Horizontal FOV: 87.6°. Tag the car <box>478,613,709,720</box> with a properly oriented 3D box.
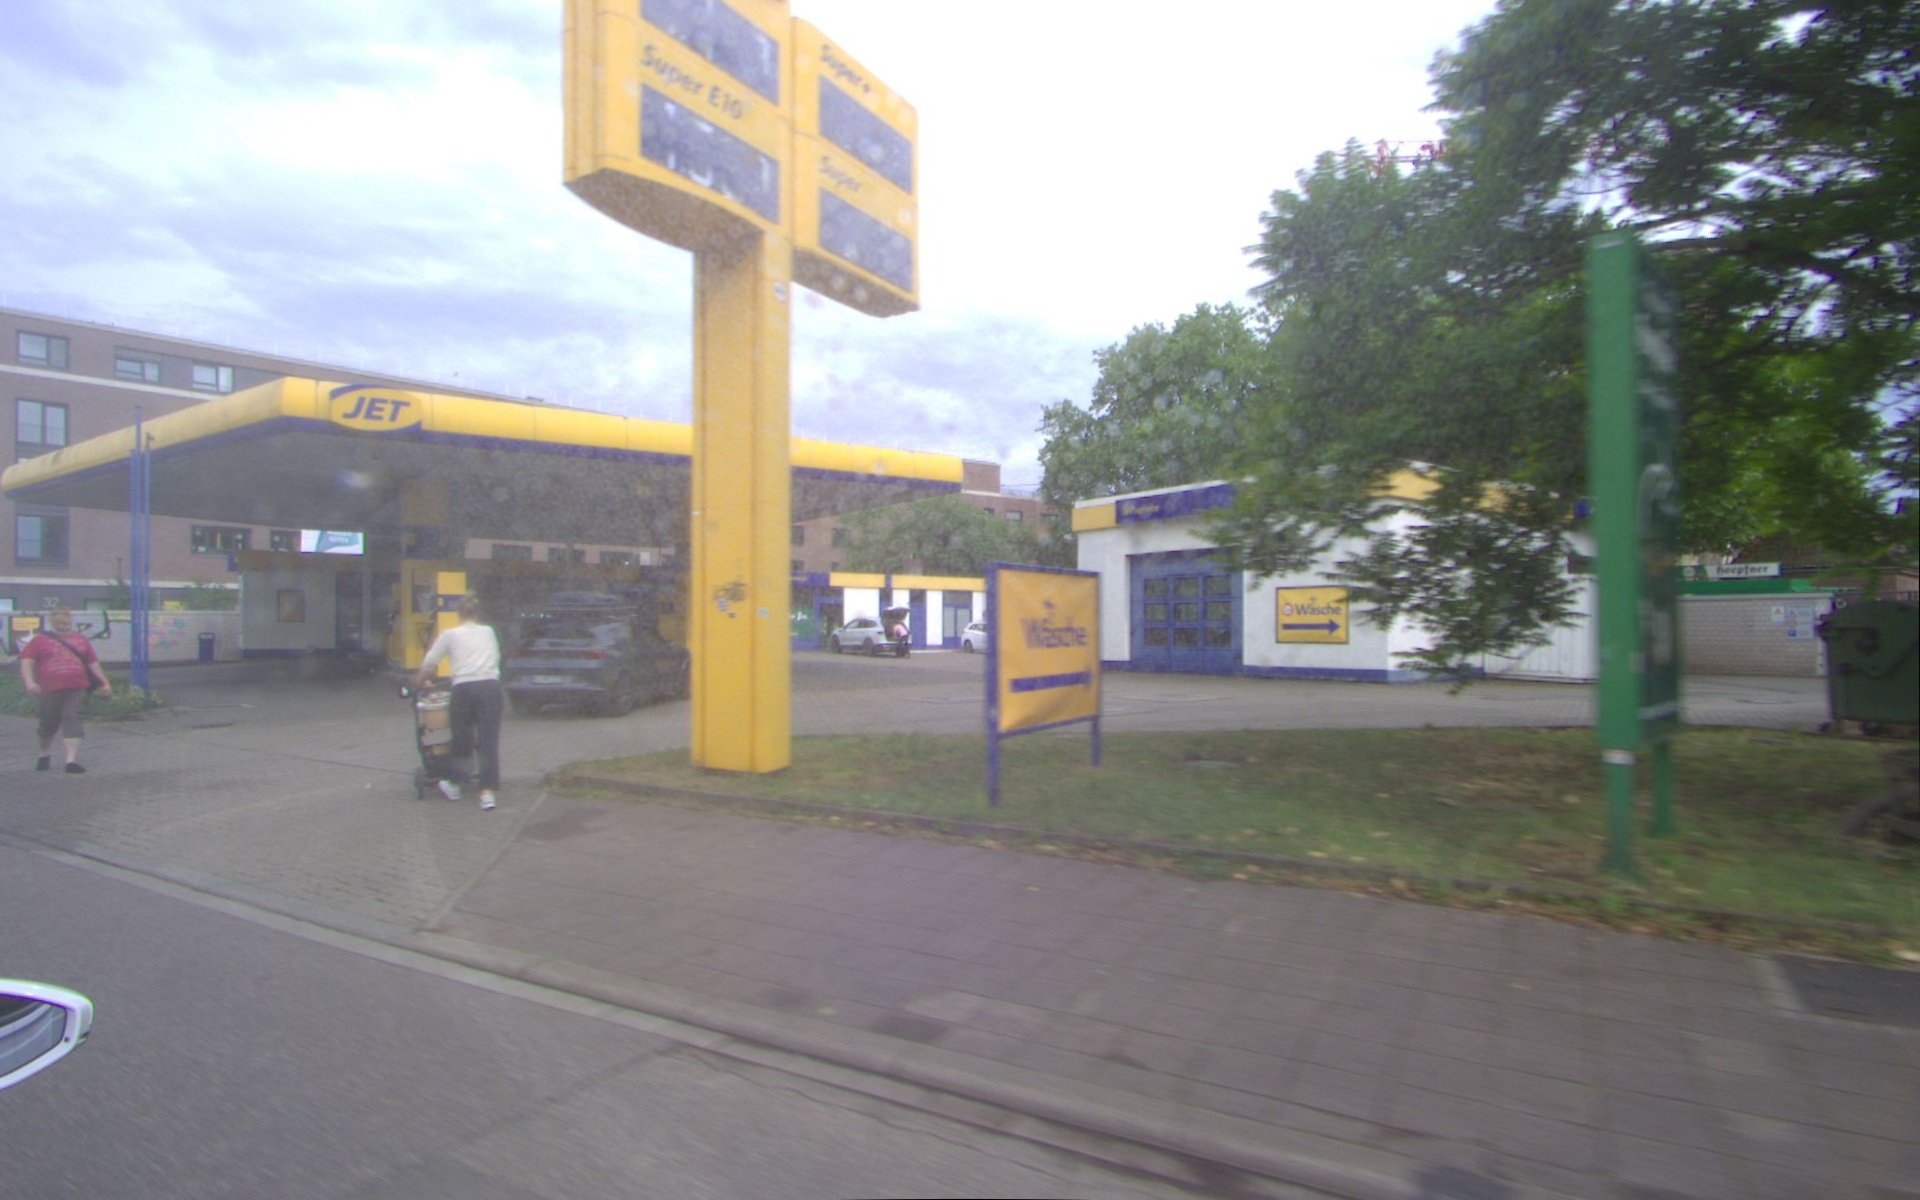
[{"bbox_3d":[-5.993,1.007,17.034,1.958,1.517,4.324,0,0,6],"label":"car"}]

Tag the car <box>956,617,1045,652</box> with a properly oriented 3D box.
[{"bbox_3d":[1.825,1.642,46.528,1.915,1.546,4.304,2,-4,-36],"label":"car"}]

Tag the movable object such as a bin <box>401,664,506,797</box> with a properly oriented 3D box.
[{"bbox_3d":[-4.679,1.161,9.228,0.759,1.053,1.018,-2,1,-31],"label":"movable object such as a bin"}]

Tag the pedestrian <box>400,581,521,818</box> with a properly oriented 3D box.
[{"bbox_3d":[-4.222,0.774,8.425,0.759,1.821,1.155,-2,1,-31],"label":"pedestrian"}]

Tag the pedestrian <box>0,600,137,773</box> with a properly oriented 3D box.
[{"bbox_3d":[-9.722,0.896,10.868,0.849,1.761,0.969,-1,1,32],"label":"pedestrian"}]

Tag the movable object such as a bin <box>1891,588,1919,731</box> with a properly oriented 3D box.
[{"bbox_3d":[10.879,0.662,10.506,1.273,1.510,1.121,2,1,-20],"label":"movable object such as a bin"}]

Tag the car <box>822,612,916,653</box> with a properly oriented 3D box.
[{"bbox_3d":[-3.967,1.438,42.963,1.820,1.658,4.442,3,-4,-40],"label":"car"}]

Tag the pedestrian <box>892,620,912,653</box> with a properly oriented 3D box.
[{"bbox_3d":[-2.385,1.511,41.181,0.573,1.363,0.607,2,-3,-36],"label":"pedestrian"}]

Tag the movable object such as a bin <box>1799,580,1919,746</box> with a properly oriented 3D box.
[{"bbox_3d":[9.598,0.606,10.083,1.398,1.535,1.120,1,3,-19],"label":"movable object such as a bin"}]
